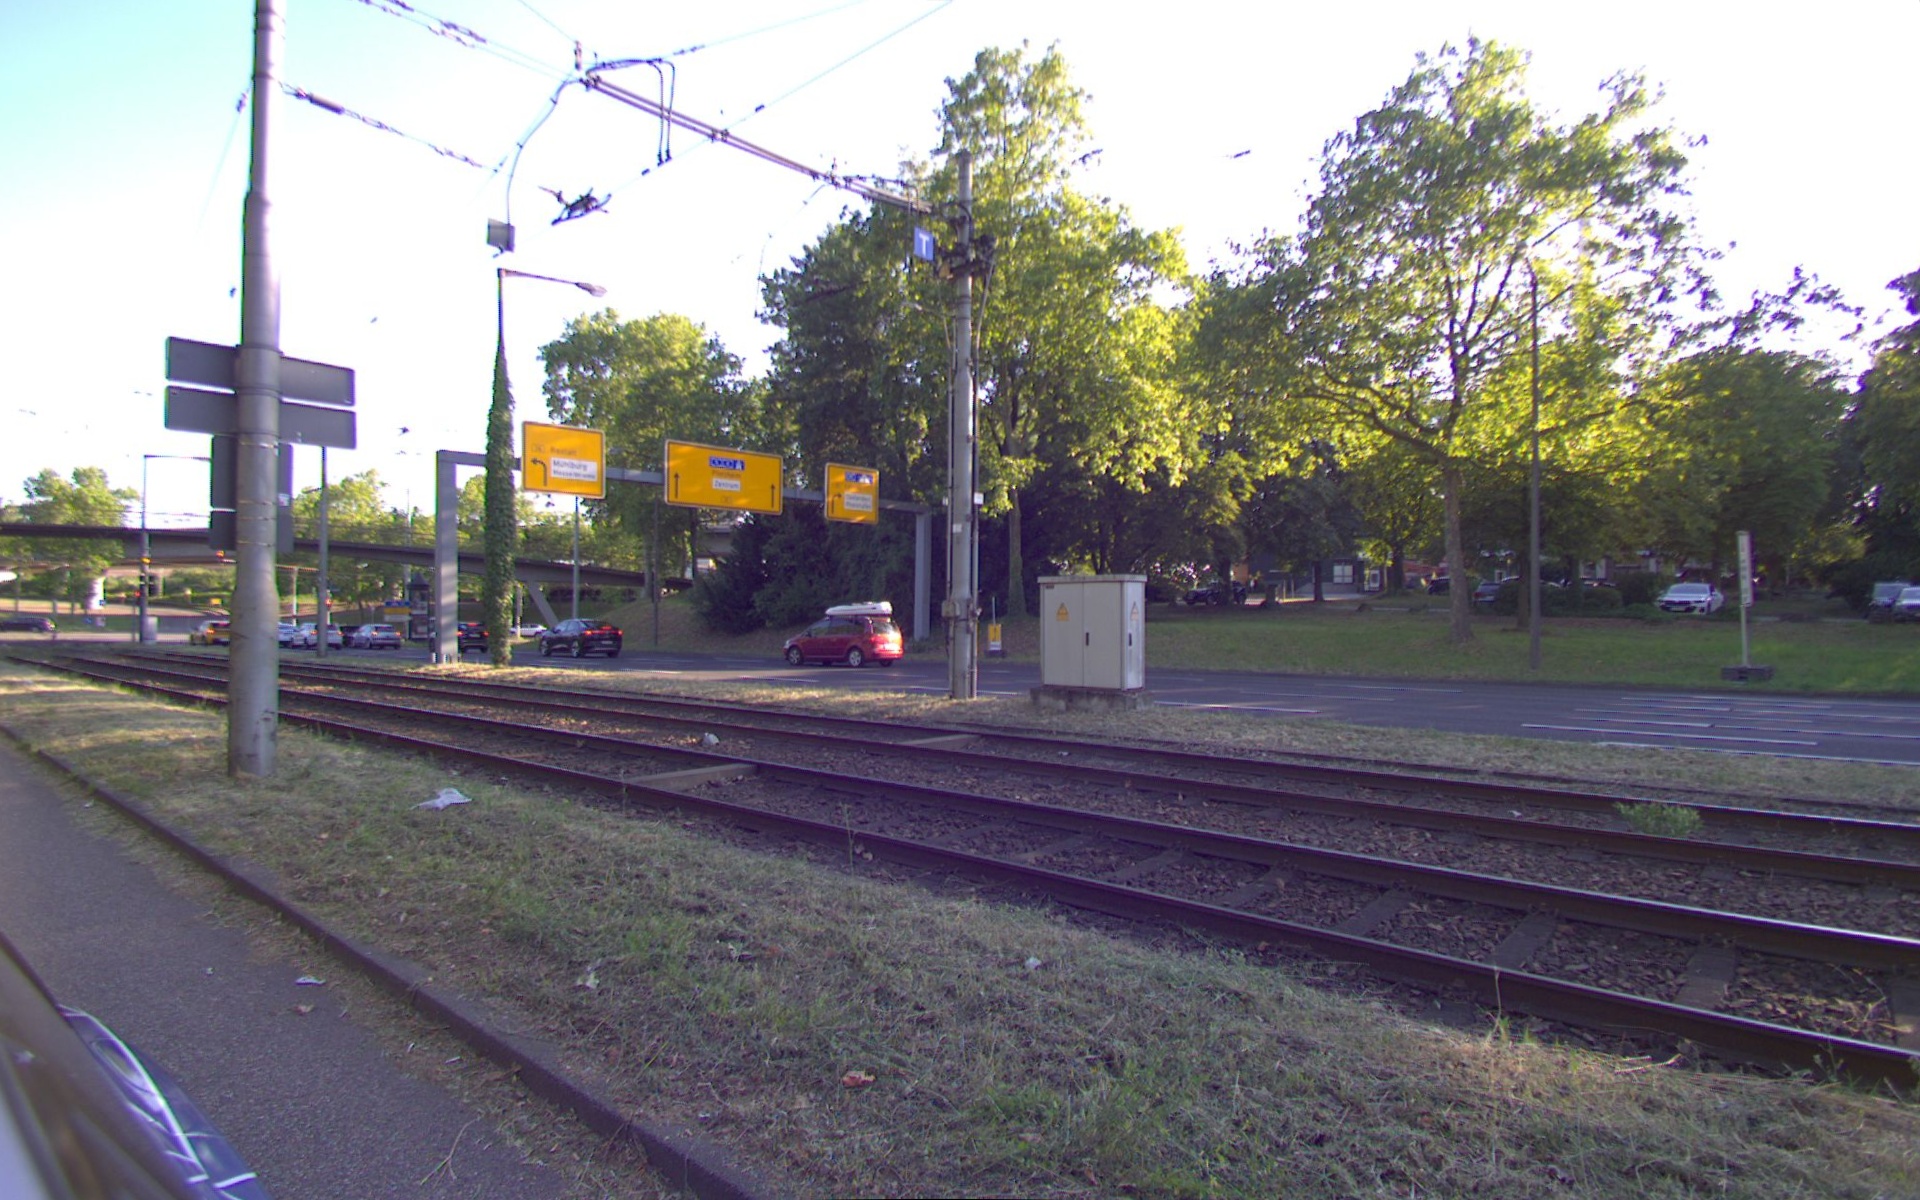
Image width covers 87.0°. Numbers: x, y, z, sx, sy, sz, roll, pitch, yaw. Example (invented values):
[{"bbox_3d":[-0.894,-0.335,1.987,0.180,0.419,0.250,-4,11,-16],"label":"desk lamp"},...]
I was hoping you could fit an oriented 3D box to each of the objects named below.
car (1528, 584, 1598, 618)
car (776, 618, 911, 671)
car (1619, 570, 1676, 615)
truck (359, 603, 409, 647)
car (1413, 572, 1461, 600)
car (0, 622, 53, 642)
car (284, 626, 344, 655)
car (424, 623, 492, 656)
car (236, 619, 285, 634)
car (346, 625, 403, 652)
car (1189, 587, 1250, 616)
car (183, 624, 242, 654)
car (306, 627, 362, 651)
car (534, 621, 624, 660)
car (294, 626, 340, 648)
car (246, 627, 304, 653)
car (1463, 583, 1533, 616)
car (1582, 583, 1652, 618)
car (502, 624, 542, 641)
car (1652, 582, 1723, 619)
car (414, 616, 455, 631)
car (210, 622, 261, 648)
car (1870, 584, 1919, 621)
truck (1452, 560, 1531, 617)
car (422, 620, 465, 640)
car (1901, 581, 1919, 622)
[{"bbox_3d":[28.417,0.016,47.663,1.942,1.521,4.039,0,0,44],"label":"car"},{"bbox_3d":[-3.842,1.420,33.166,4.301,1.647,1.821,-1,-2,35],"label":"car"},{"bbox_3d":[36.876,-0.399,54.246,2.161,2.320,4.348,0,0,40],"label":"car"},{"bbox_3d":[-40.313,1.741,70.769,2.248,2.901,6.895,0,-1,-37],"label":"truck"},{"bbox_3d":[33.546,-0.993,71.068,2.290,1.864,5.214,-1,1,34],"label":"car"},{"bbox_3d":[-83.814,2.819,90.409,3.810,1.677,1.817,-1,0,-28],"label":"car"},{"bbox_3d":[-35.750,2.205,55.958,3.997,1.556,1.744,-1,-1,40],"label":"car"},{"bbox_3d":[-25.216,1.961,50.774,3.971,1.569,1.733,-2,-3,42],"label":"car"},{"bbox_3d":[-68.744,2.584,99.566,3.810,1.421,1.817,-1,0,-30],"label":"car"},{"bbox_3d":[-34.971,2.279,60.415,3.998,1.556,1.789,-1,-1,41],"label":"car"},{"bbox_3d":[15.385,0.063,59.962,1.791,1.657,3.942,-1,-1,44],"label":"car"},{"bbox_3d":[-40.813,2.124,55.257,3.997,1.556,1.744,-1,-1,40],"label":"car"},{"bbox_3d":[-39.772,2.451,64.230,4.224,1.435,1.844,-1,-1,40],"label":"car"},{"bbox_3d":[-16.040,1.685,42.561,4.332,1.556,1.713,-1,-2,41],"label":"car"},{"bbox_3d":[-44.284,2.507,69.675,1.891,1.435,4.229,0,-1,-44],"label":"car"},{"bbox_3d":[-40.584,2.336,59.956,4.226,1.435,1.893,-1,-1,42],"label":"car"},{"bbox_3d":[26.161,-0.043,49.192,1.942,1.521,4.039,0,0,44],"label":"car"},{"bbox_3d":[30.026,0.007,46.226,1.942,1.521,4.039,0,0,44],"label":"car"},{"bbox_3d":[-45.977,3.374,106.141,3.747,1.591,1.683,-1,0,-26],"label":"car"},{"bbox_3d":[31.553,0.004,43.851,1.942,1.521,4.039,0,0,44],"label":"car"},{"bbox_3d":[-55.200,2.459,106.340,3.728,1.510,1.769,-1,0,-32],"label":"car"},{"bbox_3d":[-45.848,2.184,64.045,4.228,1.561,1.892,-1,-2,44],"label":"car"},{"bbox_3d":[43.960,0.096,47.234,3.998,1.628,1.864,-1,0,-43],"label":"car"},{"bbox_3d":[31.733,-0.687,60.291,2.503,3.191,6.137,0,0,45],"label":"truck"},{"bbox_3d":[-52.351,3.053,102.578,3.748,1.872,1.682,-1,0,-30],"label":"car"},{"bbox_3d":[37.572,0.037,38.900,1.942,1.521,4.039,0,0,44],"label":"car"}]
